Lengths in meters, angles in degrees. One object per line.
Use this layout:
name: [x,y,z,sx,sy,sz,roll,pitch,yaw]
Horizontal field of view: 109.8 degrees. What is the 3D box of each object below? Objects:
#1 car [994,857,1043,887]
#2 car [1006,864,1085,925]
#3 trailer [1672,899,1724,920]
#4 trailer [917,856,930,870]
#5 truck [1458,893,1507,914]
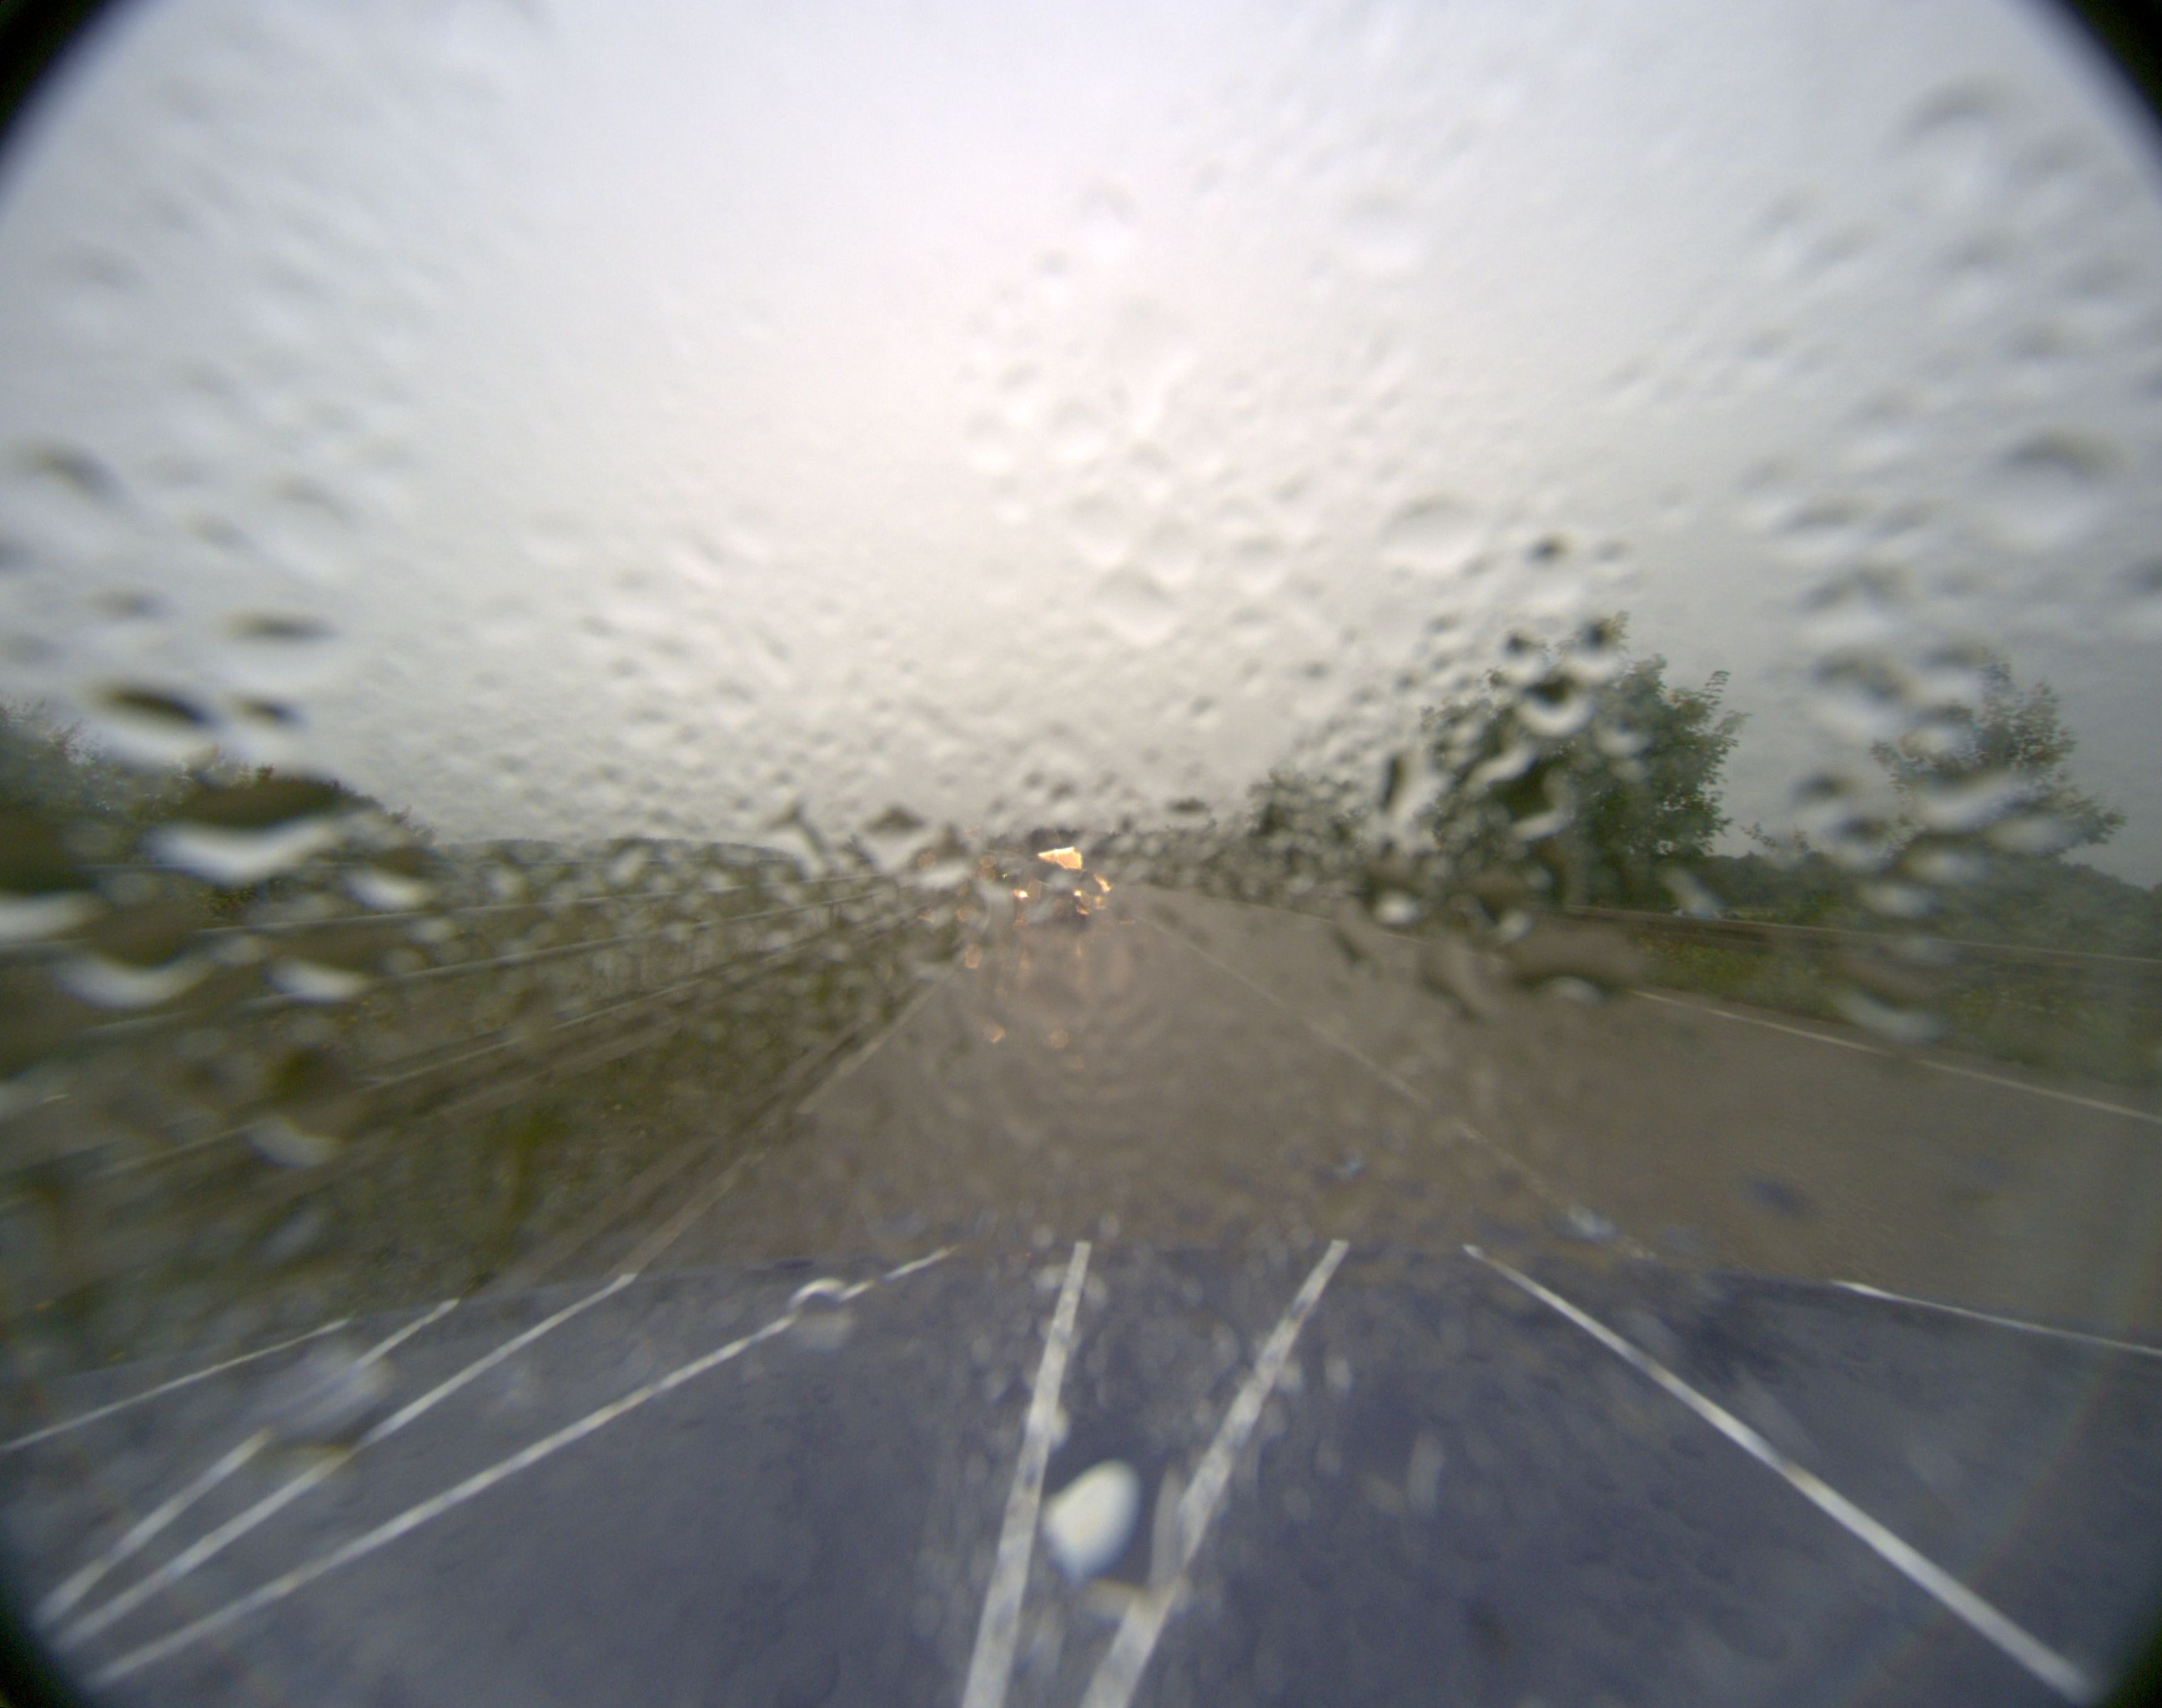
car: [-3.267,0.885,39.088,1.821,1.382,4.064,-1,0,-14]
car: [-0.878,0.964,19.616,1.819,1.382,4.068,0,0,-1]
trailer: [128.615,11.443,158.278,14.391,4.193,2.876,2,-1,-27]
trailer: [-46.488,2.654,224.407,2.829,3.946,13.719,1,-1,-15]
truck: [80.777,9.901,152.786,10.661,3.846,2.780,3,-1,-26]
